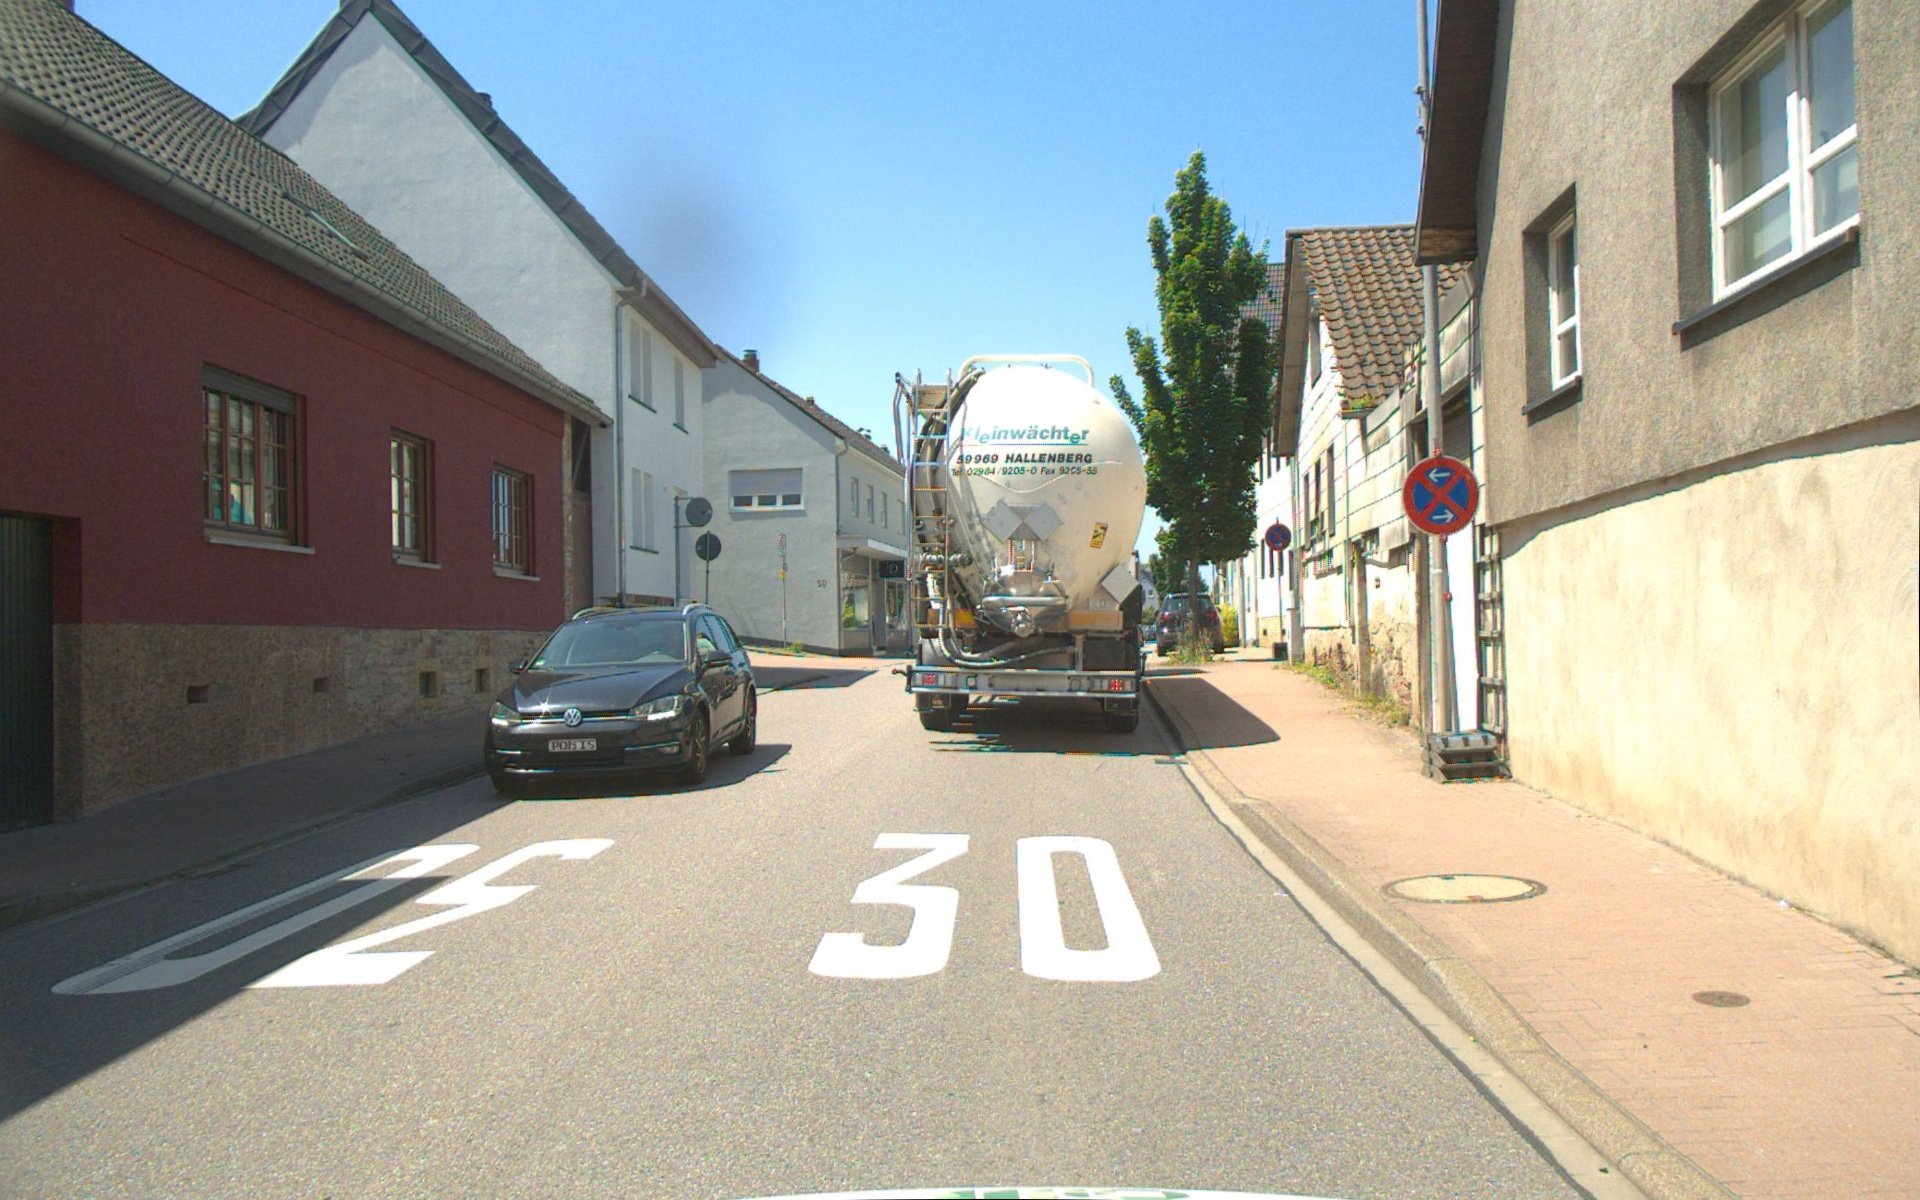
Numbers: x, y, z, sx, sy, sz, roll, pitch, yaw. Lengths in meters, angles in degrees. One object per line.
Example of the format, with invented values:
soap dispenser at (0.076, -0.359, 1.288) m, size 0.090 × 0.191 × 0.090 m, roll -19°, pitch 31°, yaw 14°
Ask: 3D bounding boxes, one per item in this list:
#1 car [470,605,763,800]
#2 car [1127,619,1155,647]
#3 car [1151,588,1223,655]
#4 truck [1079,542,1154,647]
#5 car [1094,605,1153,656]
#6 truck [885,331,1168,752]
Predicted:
car at (-2.919, 0.803, 14.960) m, size 1.660 × 1.434 × 4.200 m, roll -2°, pitch 0°, yaw 1°
car at (13.447, 2.450, 123.224) m, size 1.905 × 2.005 × 4.787 m, roll -2°, pitch -1°, yaw 5°
car at (6.219, 0.588, 45.525) m, size 1.764 × 1.642 × 4.551 m, roll -4°, pitch -1°, yaw 7°
truck at (6.672, -0.265, 70.653) m, size 2.900 × 4.140 × 9.289 m, roll -1°, pitch 0°, yaw 5°
car at (5.387, 0.997, 54.121) m, size 1.664 × 1.472 × 4.839 m, roll -4°, pitch -2°, yaw 7°
truck at (0.920, -0.573, 19.987) m, size 2.675 × 4.029 × 8.145 m, roll 1°, pitch 0°, yaw 4°
